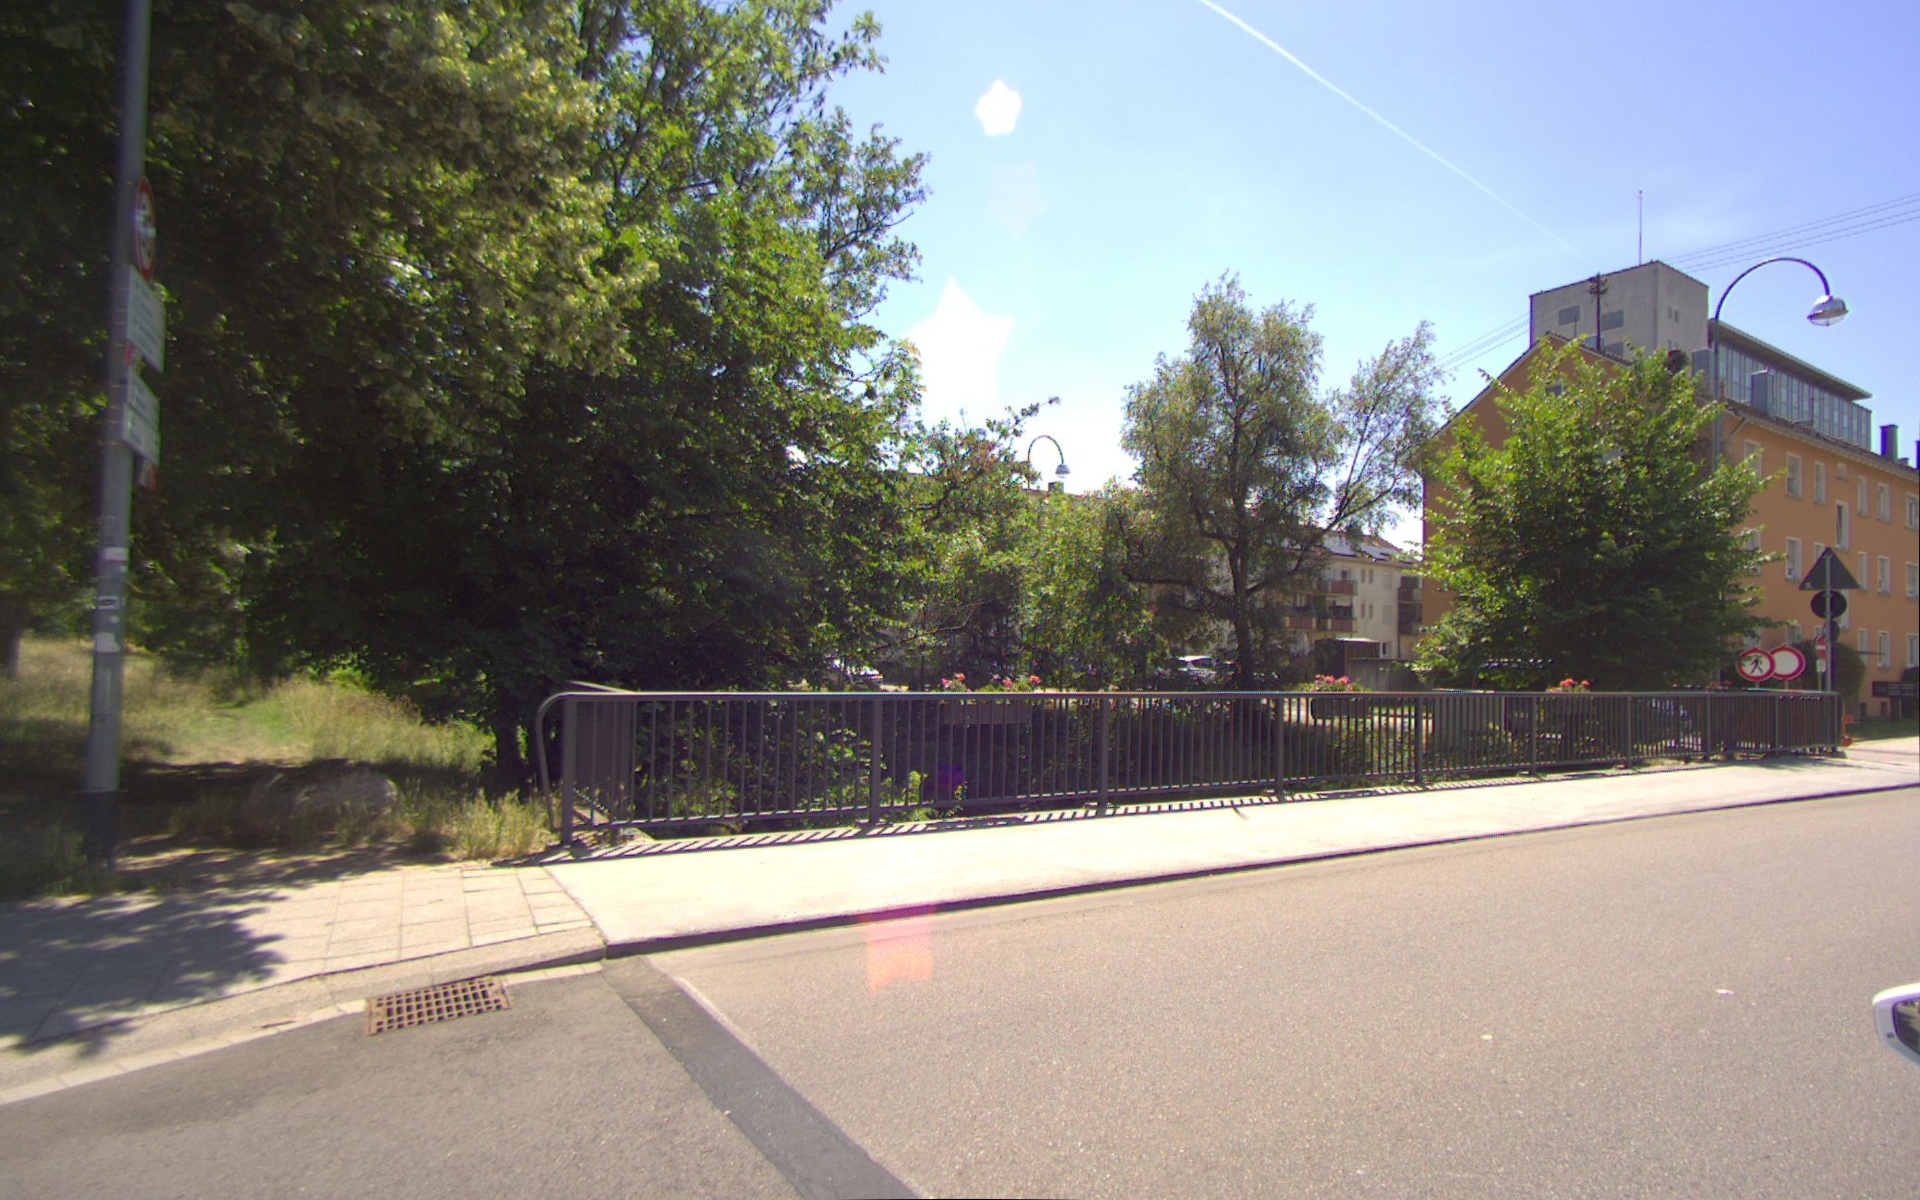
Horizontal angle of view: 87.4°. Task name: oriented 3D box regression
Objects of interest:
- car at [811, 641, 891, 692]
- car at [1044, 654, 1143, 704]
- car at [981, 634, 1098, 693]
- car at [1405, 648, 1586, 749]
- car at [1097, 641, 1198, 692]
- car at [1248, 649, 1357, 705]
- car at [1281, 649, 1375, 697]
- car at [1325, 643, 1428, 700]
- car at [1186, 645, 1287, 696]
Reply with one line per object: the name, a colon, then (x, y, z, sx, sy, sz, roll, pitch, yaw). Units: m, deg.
car: (-4.866, 2.908, 44.567, 1.978, 2.040, 3.965, 2, -2, -32)
car: (5.853, 3.459, 44.007, 3.958, 2.040, 1.982, 3, -3, -33)
car: (2.960, 2.341, 37.113, 3.960, 2.040, 1.981, 4, -3, -35)
car: (12.030, 2.121, 22.510, 3.959, 2.040, 1.981, 2, -2, -34)
car: (7.925, 2.823, 42.372, 3.959, 2.040, 1.981, 4, -3, -34)
car: (13.544, 3.015, 39.641, 3.954, 2.040, 1.984, 3, -2, -31)
car: (16.427, 3.264, 44.804, 3.959, 2.040, 1.981, 4, -3, -34)
car: (17.557, 3.009, 42.333, 3.954, 2.263, 2.068, 3, -2, -30)
car: (11.659, 2.969, 42.314, 3.959, 2.040, 1.981, 4, -3, -34)
